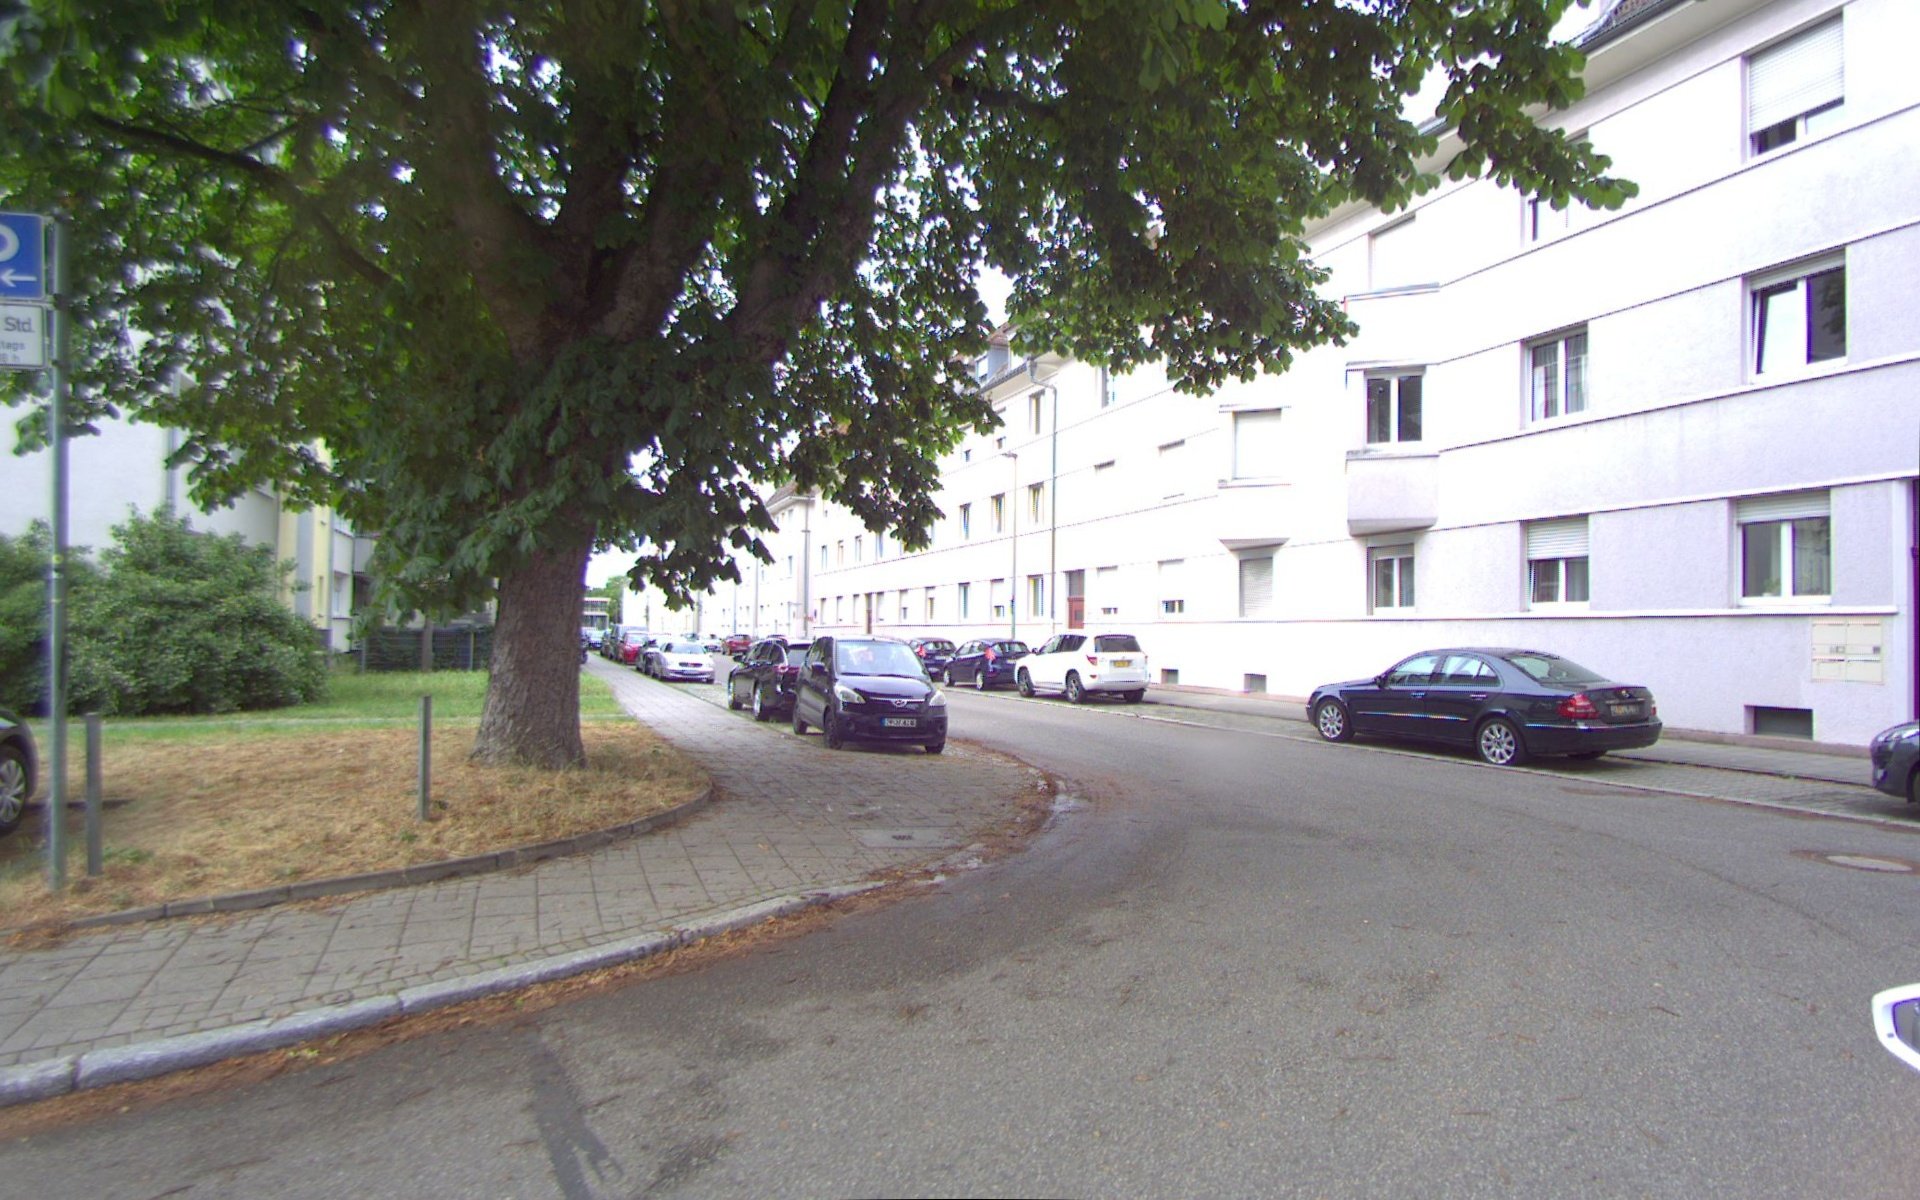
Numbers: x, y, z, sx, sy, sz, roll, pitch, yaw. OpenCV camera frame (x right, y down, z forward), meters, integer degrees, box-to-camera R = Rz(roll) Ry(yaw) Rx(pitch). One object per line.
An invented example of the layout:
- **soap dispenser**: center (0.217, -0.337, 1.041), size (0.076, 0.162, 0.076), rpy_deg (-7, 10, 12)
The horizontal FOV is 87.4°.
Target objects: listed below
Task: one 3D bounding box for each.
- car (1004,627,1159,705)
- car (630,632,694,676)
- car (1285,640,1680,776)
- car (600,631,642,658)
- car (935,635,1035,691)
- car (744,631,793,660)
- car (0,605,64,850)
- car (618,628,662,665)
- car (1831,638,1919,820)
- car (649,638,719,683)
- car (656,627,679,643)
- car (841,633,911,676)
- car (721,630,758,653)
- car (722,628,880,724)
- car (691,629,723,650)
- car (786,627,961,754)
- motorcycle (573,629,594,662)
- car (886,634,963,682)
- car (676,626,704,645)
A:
- **car**: center (2.857, 1.512, 24.566), size (1.823, 1.696, 4.263), rpy_deg (0, -1, -25)
- **car**: center (-11.344, 2.012, 38.058), size (1.822, 1.439, 4.605), rpy_deg (4, -3, -22)
- **car**: center (6.920, 1.331, 14.016), size (1.726, 1.439, 4.921), rpy_deg (1, -1, -24)
- **car**: center (-19.464, 2.529, 57.548), size (1.811, 1.478, 4.234), rpy_deg (2, -2, -24)
- **car**: center (0.661, 1.786, 29.525), size (1.549, 1.498, 3.851), rpy_deg (1, -2, -22)
- **car**: center (-10.904, 2.554, 56.940), size (1.737, 1.487, 4.574), rpy_deg (2, -2, -24)
- **car**: center (-6.723, 0.791, 5.186), size (1.803, 1.598, 3.825), rpy_deg (1, -2, -20)
- **car**: center (-15.008, 2.155, 47.026), size (1.547, 1.589, 3.621), rpy_deg (4, -3, -24)
- **car**: center (9.640, 1.111, 7.774), size (1.738, 1.545, 4.055), rpy_deg (1, -1, -24)
- **car**: center (-9.034, 1.943, 32.711), size (1.678, 1.275, 3.994), rpy_deg (4, -3, -22)
- **car**: center (-30.280, 3.592, 103.921), size (1.799, 1.597, 3.863), rpy_deg (2, -2, -23)
- **car**: center (-3.364, 2.100, 39.687), size (1.677, 1.545, 3.805), rpy_deg (0, -1, -22)
- **car**: center (-14.610, 2.717, 66.416), size (1.652, 1.439, 3.977), rpy_deg (0, -1, -24)
- **car**: center (-3.125, 1.335, 18.801), size (1.847, 1.483, 4.810), rpy_deg (4, -3, -22)
- **car**: center (-19.462, 3.045, 77.285), size (1.799, 1.524, 3.732), rpy_deg (2, -2, -23)
- **car**: center (-1.339, 1.175, 14.100), size (1.507, 1.513, 3.575), rpy_deg (4, -3, -20)
- **motorcycle**: center (-16.217, 1.940, 43.269), size (0.670, 1.373, 2.217), rpy_deg (4, -3, -23)
- **car**: center (-1.277, 1.948, 34.474), size (1.549, 1.493, 3.678), rpy_deg (0, -1, -21)
- **car**: center (-23.807, 3.140, 88.526), size (1.799, 1.597, 3.732), rpy_deg (2, -2, -23)
